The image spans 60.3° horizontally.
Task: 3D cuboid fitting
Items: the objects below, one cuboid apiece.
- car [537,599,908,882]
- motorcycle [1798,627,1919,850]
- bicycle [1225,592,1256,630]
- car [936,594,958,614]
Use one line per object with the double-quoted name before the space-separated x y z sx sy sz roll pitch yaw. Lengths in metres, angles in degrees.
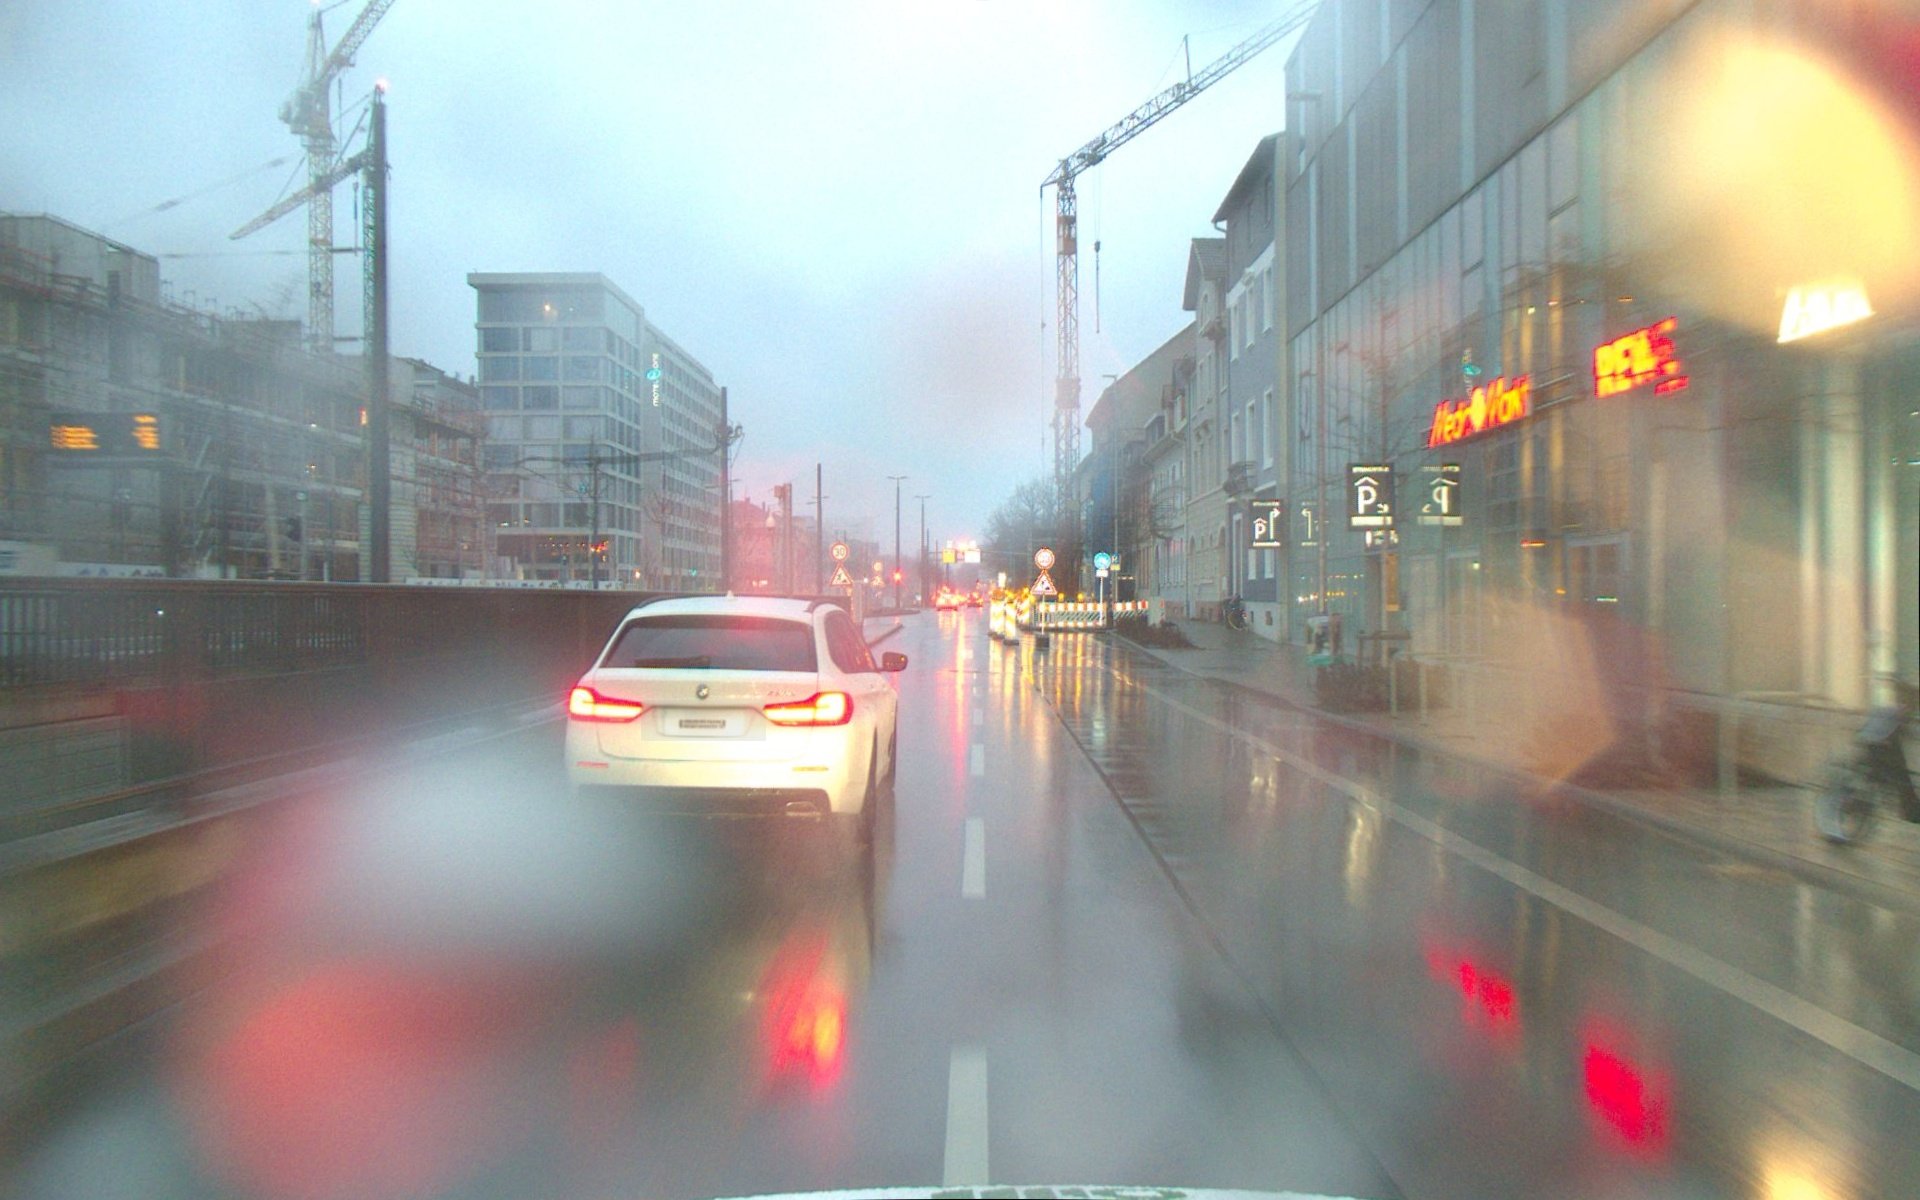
"car" -1.355 0.755 11.373 1.814 1.491 4.946 1 0 0
"motorcycle" 6.234 0.844 10.124 1.875 1.357 0.592 -1 -1 41
"bicycle" 9.652 0.372 57.030 0.668 1.243 1.905 -3 0 -1
"car" -1.107 0.350 146.116 1.862 1.670 4.000 1 0 1
